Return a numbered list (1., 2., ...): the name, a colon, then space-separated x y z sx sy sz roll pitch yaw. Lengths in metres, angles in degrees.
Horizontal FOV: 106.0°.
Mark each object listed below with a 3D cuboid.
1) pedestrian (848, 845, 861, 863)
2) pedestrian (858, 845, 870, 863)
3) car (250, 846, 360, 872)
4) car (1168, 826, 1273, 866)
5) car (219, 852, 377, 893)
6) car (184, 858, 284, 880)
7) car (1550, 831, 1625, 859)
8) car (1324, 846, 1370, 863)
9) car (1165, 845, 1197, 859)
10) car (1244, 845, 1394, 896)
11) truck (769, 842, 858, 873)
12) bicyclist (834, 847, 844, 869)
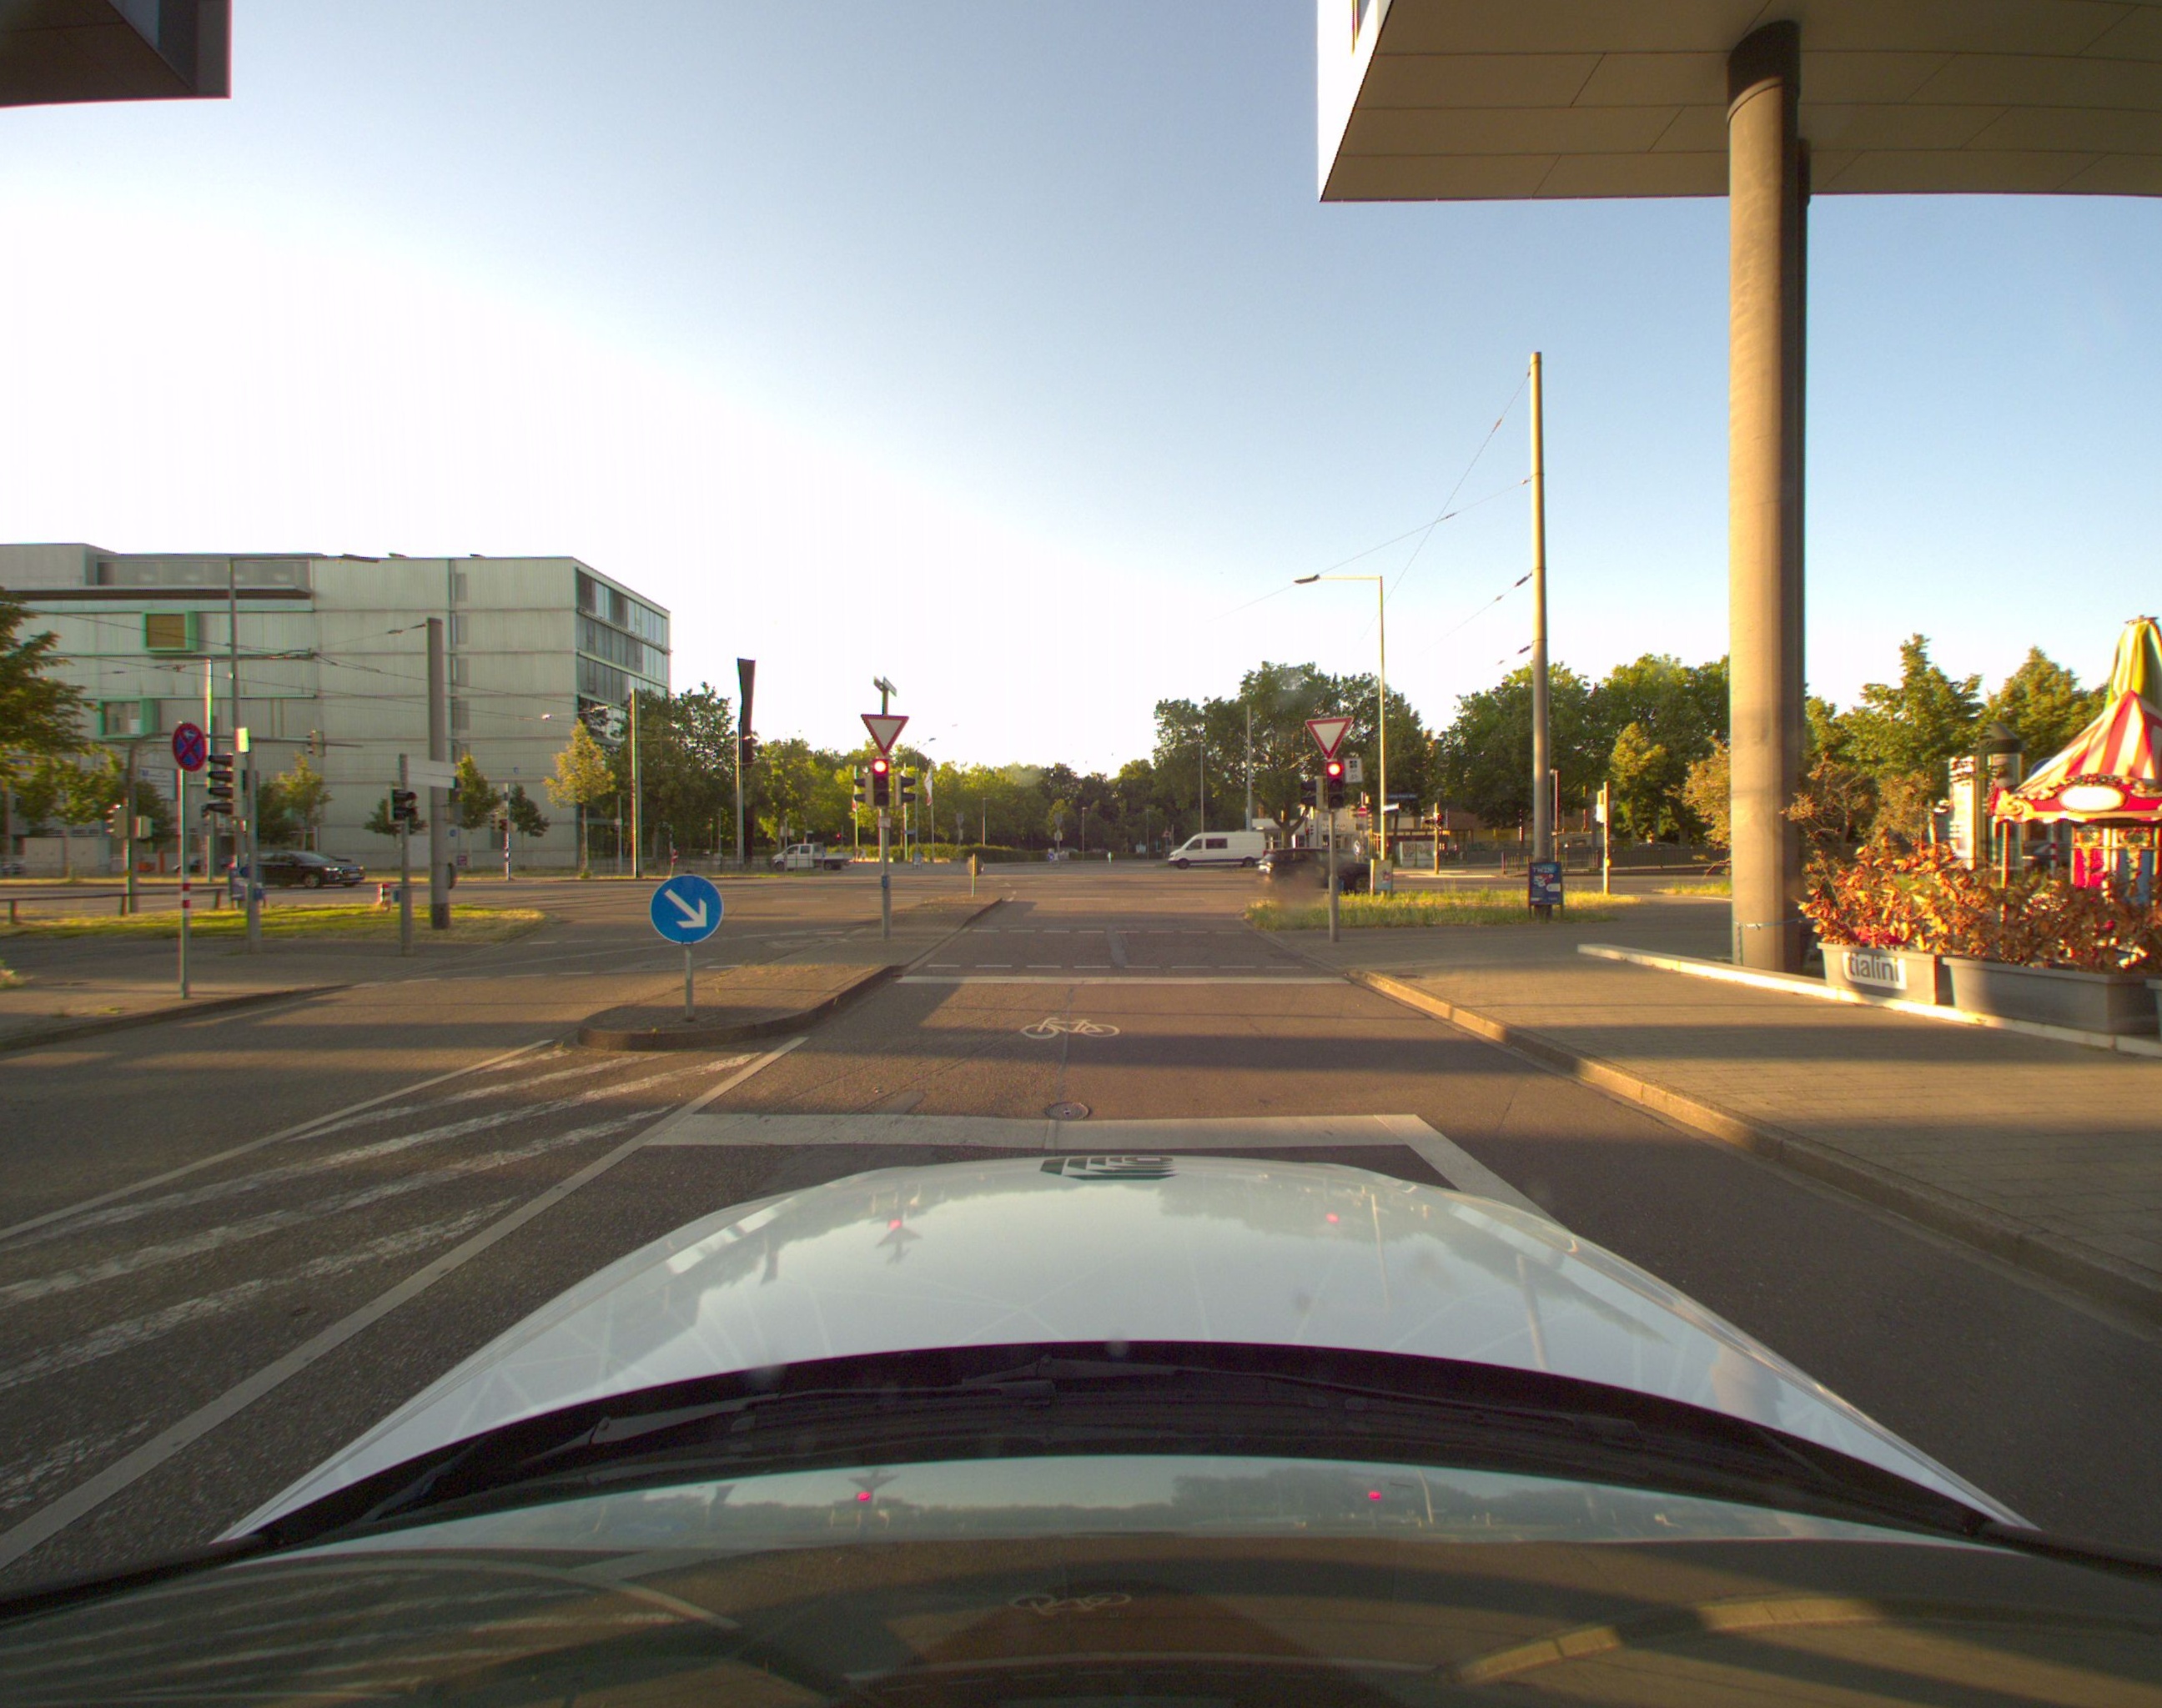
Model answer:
1. pedestrian: -22.059 -0.001 79.296 0.852 1.744 0.835 -1 0 41
2. pedestrian: -21.312 -0.030 80.086 0.852 1.744 0.835 -1 0 43
3. car: -49.996 0.346 52.548 5.206 1.552 2.000 -1 -1 1
4. car: 9.613 -0.527 56.799 6.892 2.636 2.812 -1 -1 1
5. car: -32.501 0.740 33.898 4.467 1.557 1.986 -1 0 -4
6. car: -60.849 1.076 58.547 5.082 1.552 2.000 -1 -1 1
7. car: 47.856 -0.845 77.068 5.561 2.551 2.235 -1 0 9
8. car: 23.449 0.079 71.925 3.715 1.440 1.669 -1 -1 11
9. car: 15.422 -0.328 125.732 4.753 2.006 2.002 -1 -1 3
10. car: 7.846 0.517 27.165 4.420 1.574 1.999 -1 0 -1
11. truck: -18.796 0.219 57.476 5.539 2.054 2.067 -1 0 -1
12. bicyclist: -18.964 0.312 63.810 0.753 1.709 0.914 -1 0 -20
